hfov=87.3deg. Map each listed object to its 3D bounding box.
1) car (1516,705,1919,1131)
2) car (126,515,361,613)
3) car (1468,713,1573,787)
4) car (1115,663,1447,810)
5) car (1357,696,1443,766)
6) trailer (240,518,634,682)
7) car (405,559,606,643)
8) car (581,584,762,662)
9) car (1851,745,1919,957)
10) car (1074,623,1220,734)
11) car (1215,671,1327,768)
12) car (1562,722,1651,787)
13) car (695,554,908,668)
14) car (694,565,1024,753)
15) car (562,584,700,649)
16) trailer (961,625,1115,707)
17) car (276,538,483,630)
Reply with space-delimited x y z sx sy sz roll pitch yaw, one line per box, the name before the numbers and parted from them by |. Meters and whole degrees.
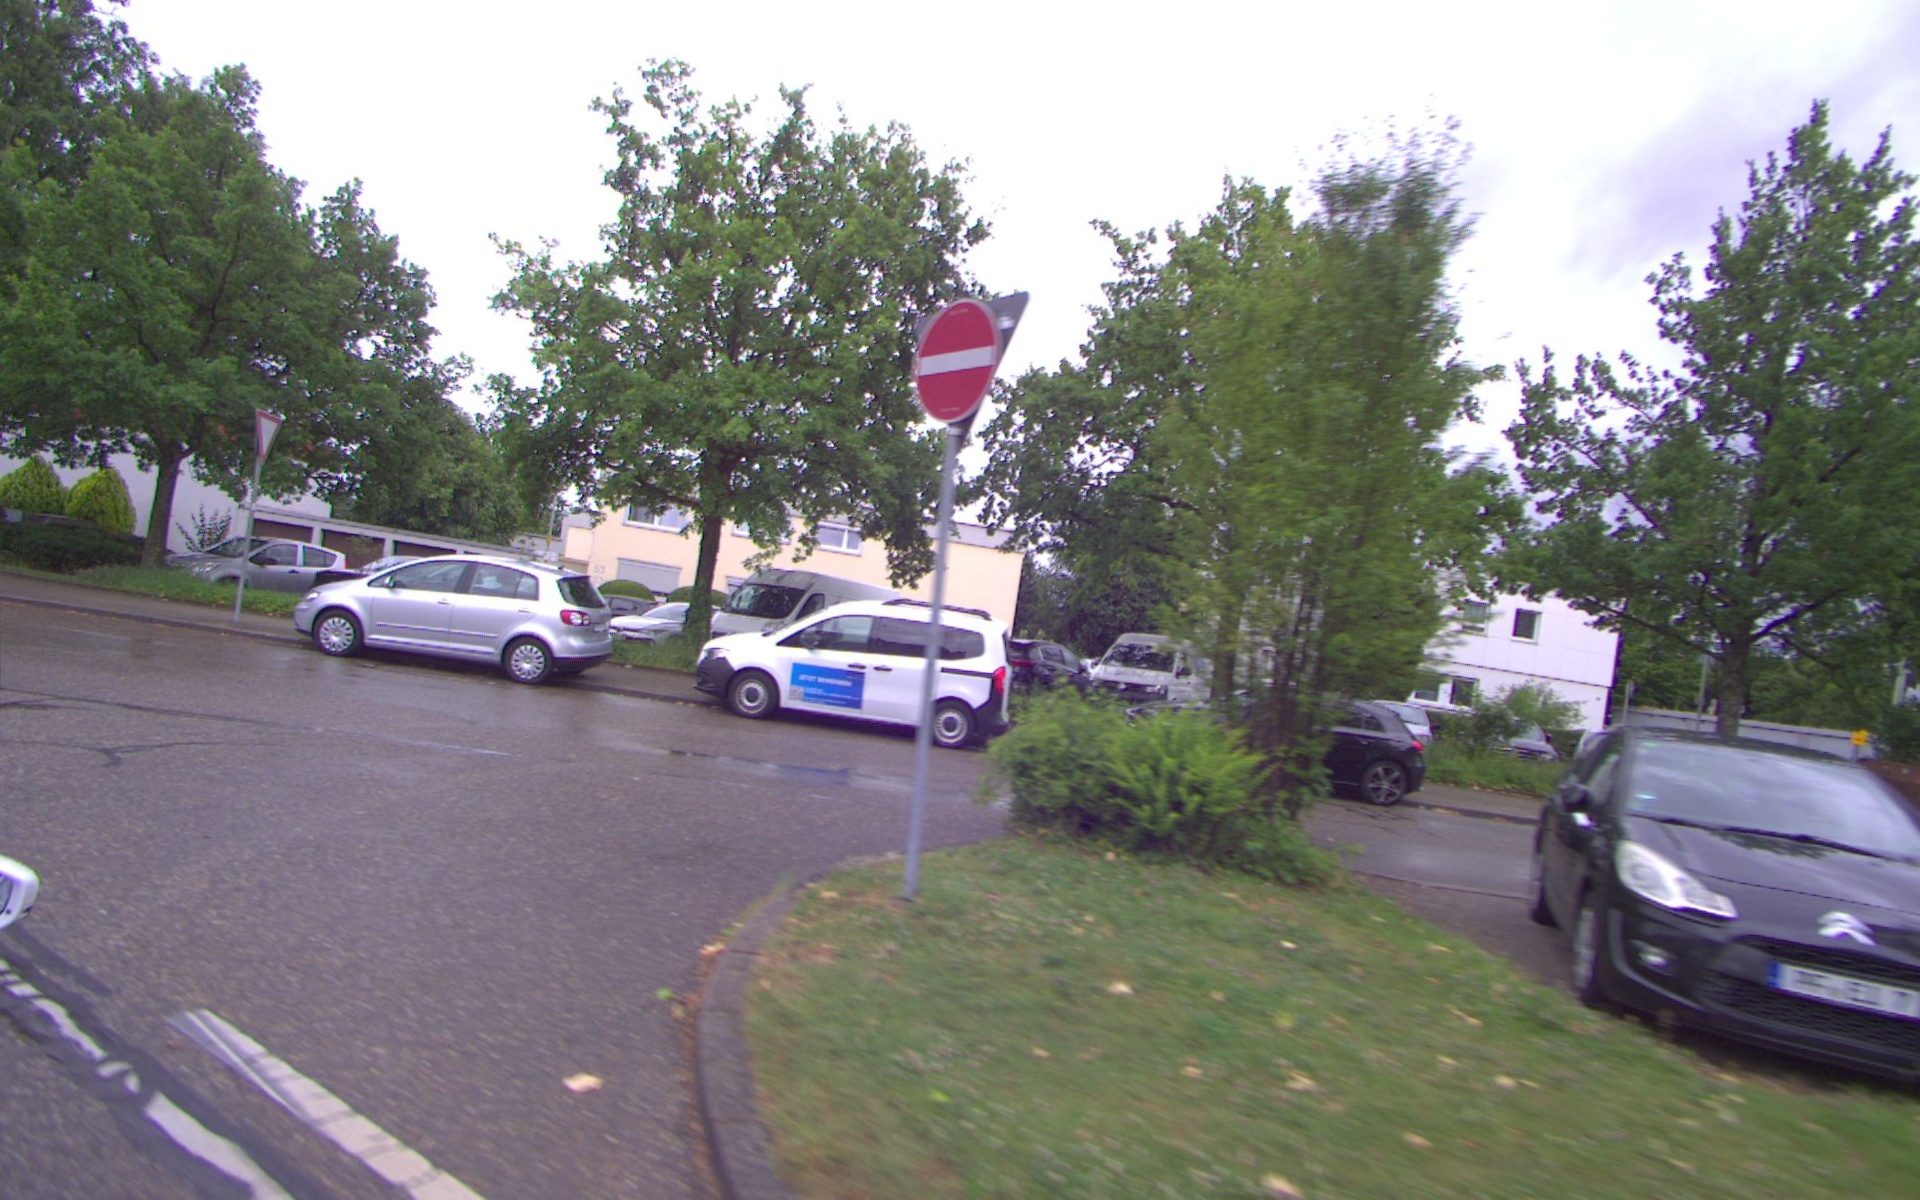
car | 4.657 1.547 6.222 1.733 1.460 4.585 7 -1 26
car | -15.257 -0.711 21.655 1.727 1.503 3.660 7 -2 21
car | 12.447 3.292 22.509 1.556 1.244 3.300 7 -2 23
car | 4.540 1.928 14.607 4.112 1.399 1.765 8 -1 -4
car | 10.043 2.937 23.077 1.556 1.244 3.300 7 -2 23
trailer | -7.170 0.029 14.196 4.346 1.561 2.000 8 -1 -2
car | -9.772 0.098 22.001 1.701 1.352 4.048 8 -2 15
car | -6.468 0.587 23.030 1.817 1.311 4.002 7 -2 22
car | 7.329 1.854 5.979 1.733 1.460 4.585 7 -1 26
car | 4.428 1.787 23.090 1.964 2.037 4.764 7 -1 25
car | 7.309 2.694 23.365 1.792 1.795 3.902 7 -1 25
car | 15.899 3.760 24.685 1.560 1.244 3.291 7 -2 36
car | -3.393 0.392 23.116 1.963 2.037 5.841 7 -1 21
car | -1.311 0.803 14.216 4.135 1.903 2.001 8 -1 1
car | -10.579 0.544 32.576 3.757 1.527 1.693 8 -2 -2
trailer | 1.858 1.541 22.794 1.684 1.453 3.994 7 -2 32
car | -12.659 -0.283 22.214 1.726 1.503 3.662 8 -2 15
